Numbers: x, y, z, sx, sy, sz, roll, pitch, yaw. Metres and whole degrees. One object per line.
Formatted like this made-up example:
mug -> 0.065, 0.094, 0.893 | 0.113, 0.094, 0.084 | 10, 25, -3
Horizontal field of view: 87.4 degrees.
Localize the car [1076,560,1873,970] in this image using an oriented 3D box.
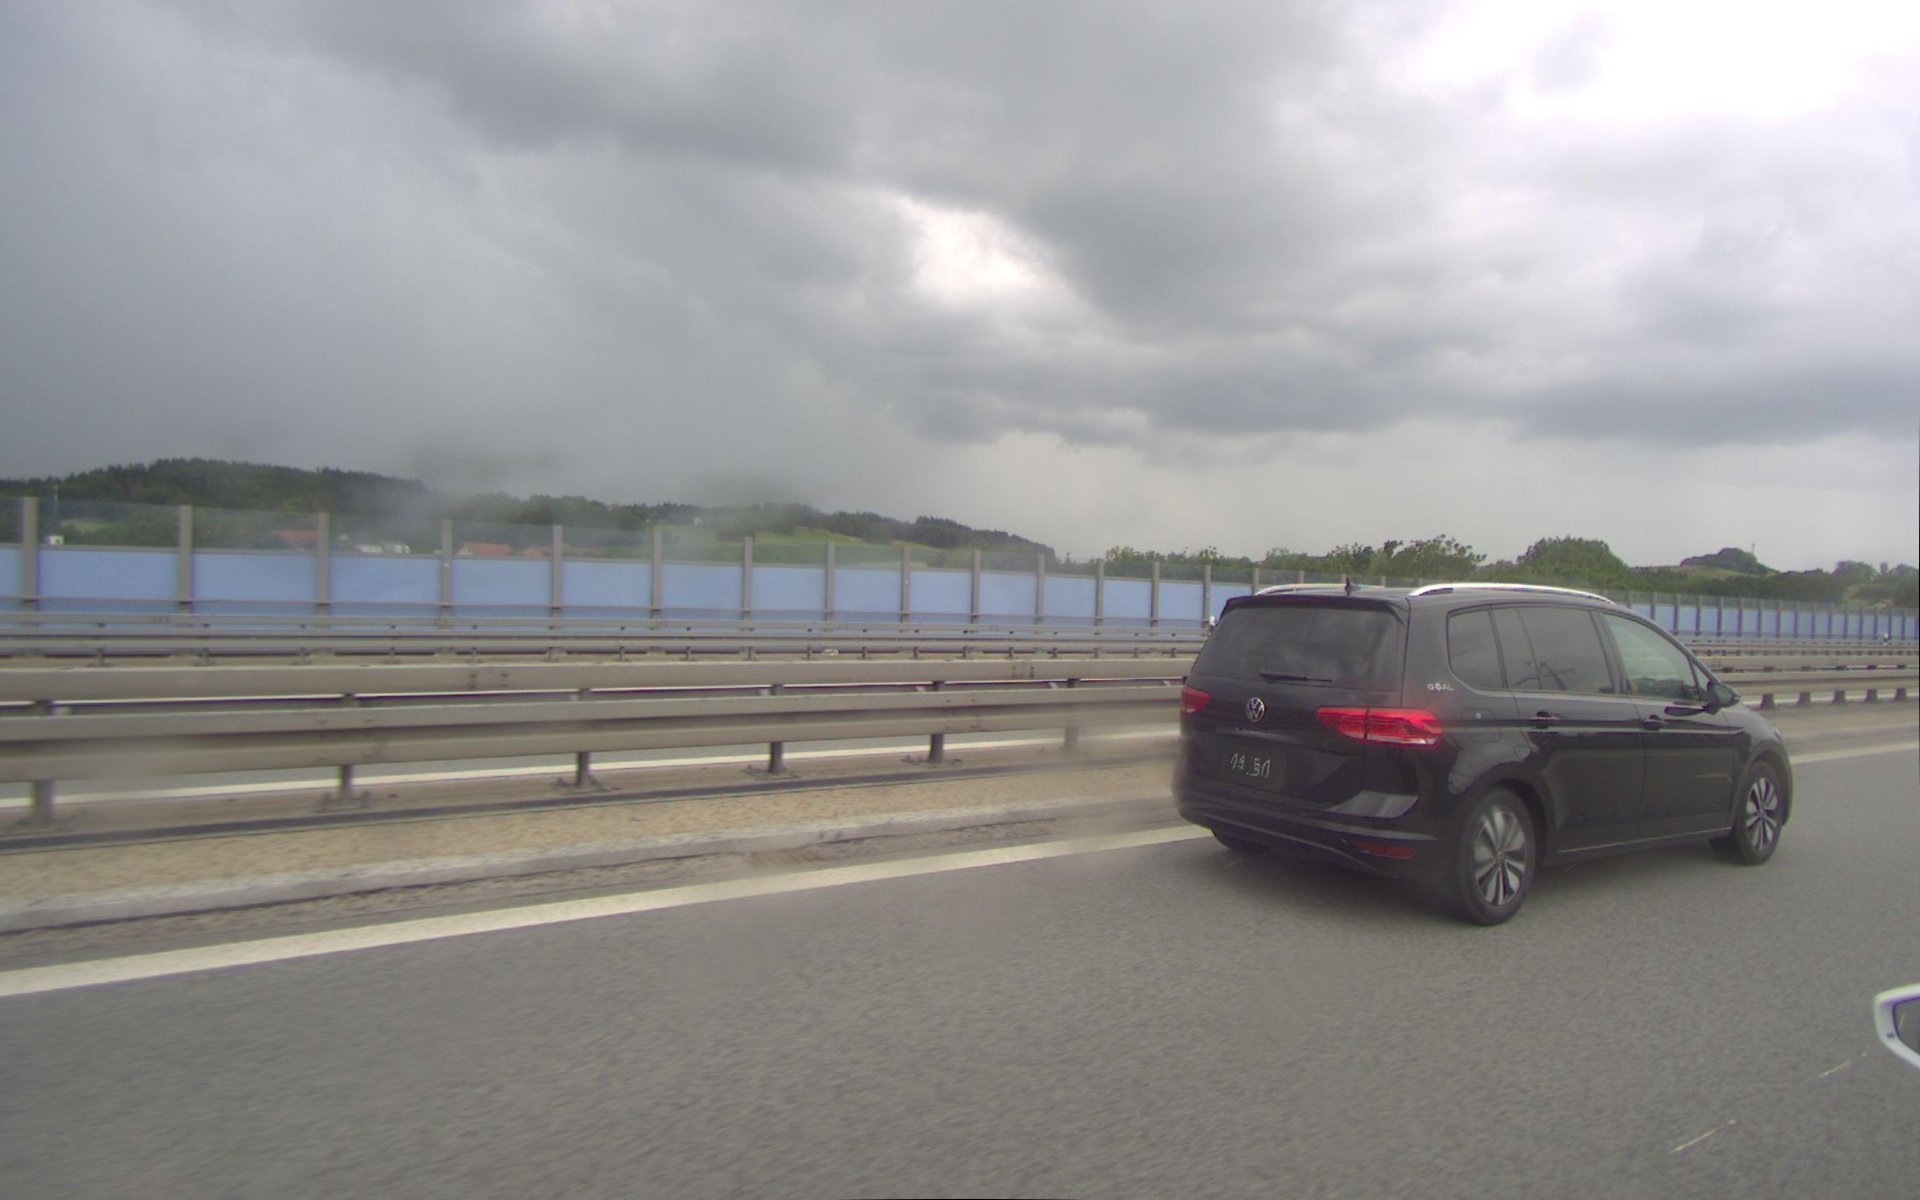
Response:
car -> 3.448, 0.734, 6.320 | 5.333, 1.693, 1.887 | 2, 0, -30
